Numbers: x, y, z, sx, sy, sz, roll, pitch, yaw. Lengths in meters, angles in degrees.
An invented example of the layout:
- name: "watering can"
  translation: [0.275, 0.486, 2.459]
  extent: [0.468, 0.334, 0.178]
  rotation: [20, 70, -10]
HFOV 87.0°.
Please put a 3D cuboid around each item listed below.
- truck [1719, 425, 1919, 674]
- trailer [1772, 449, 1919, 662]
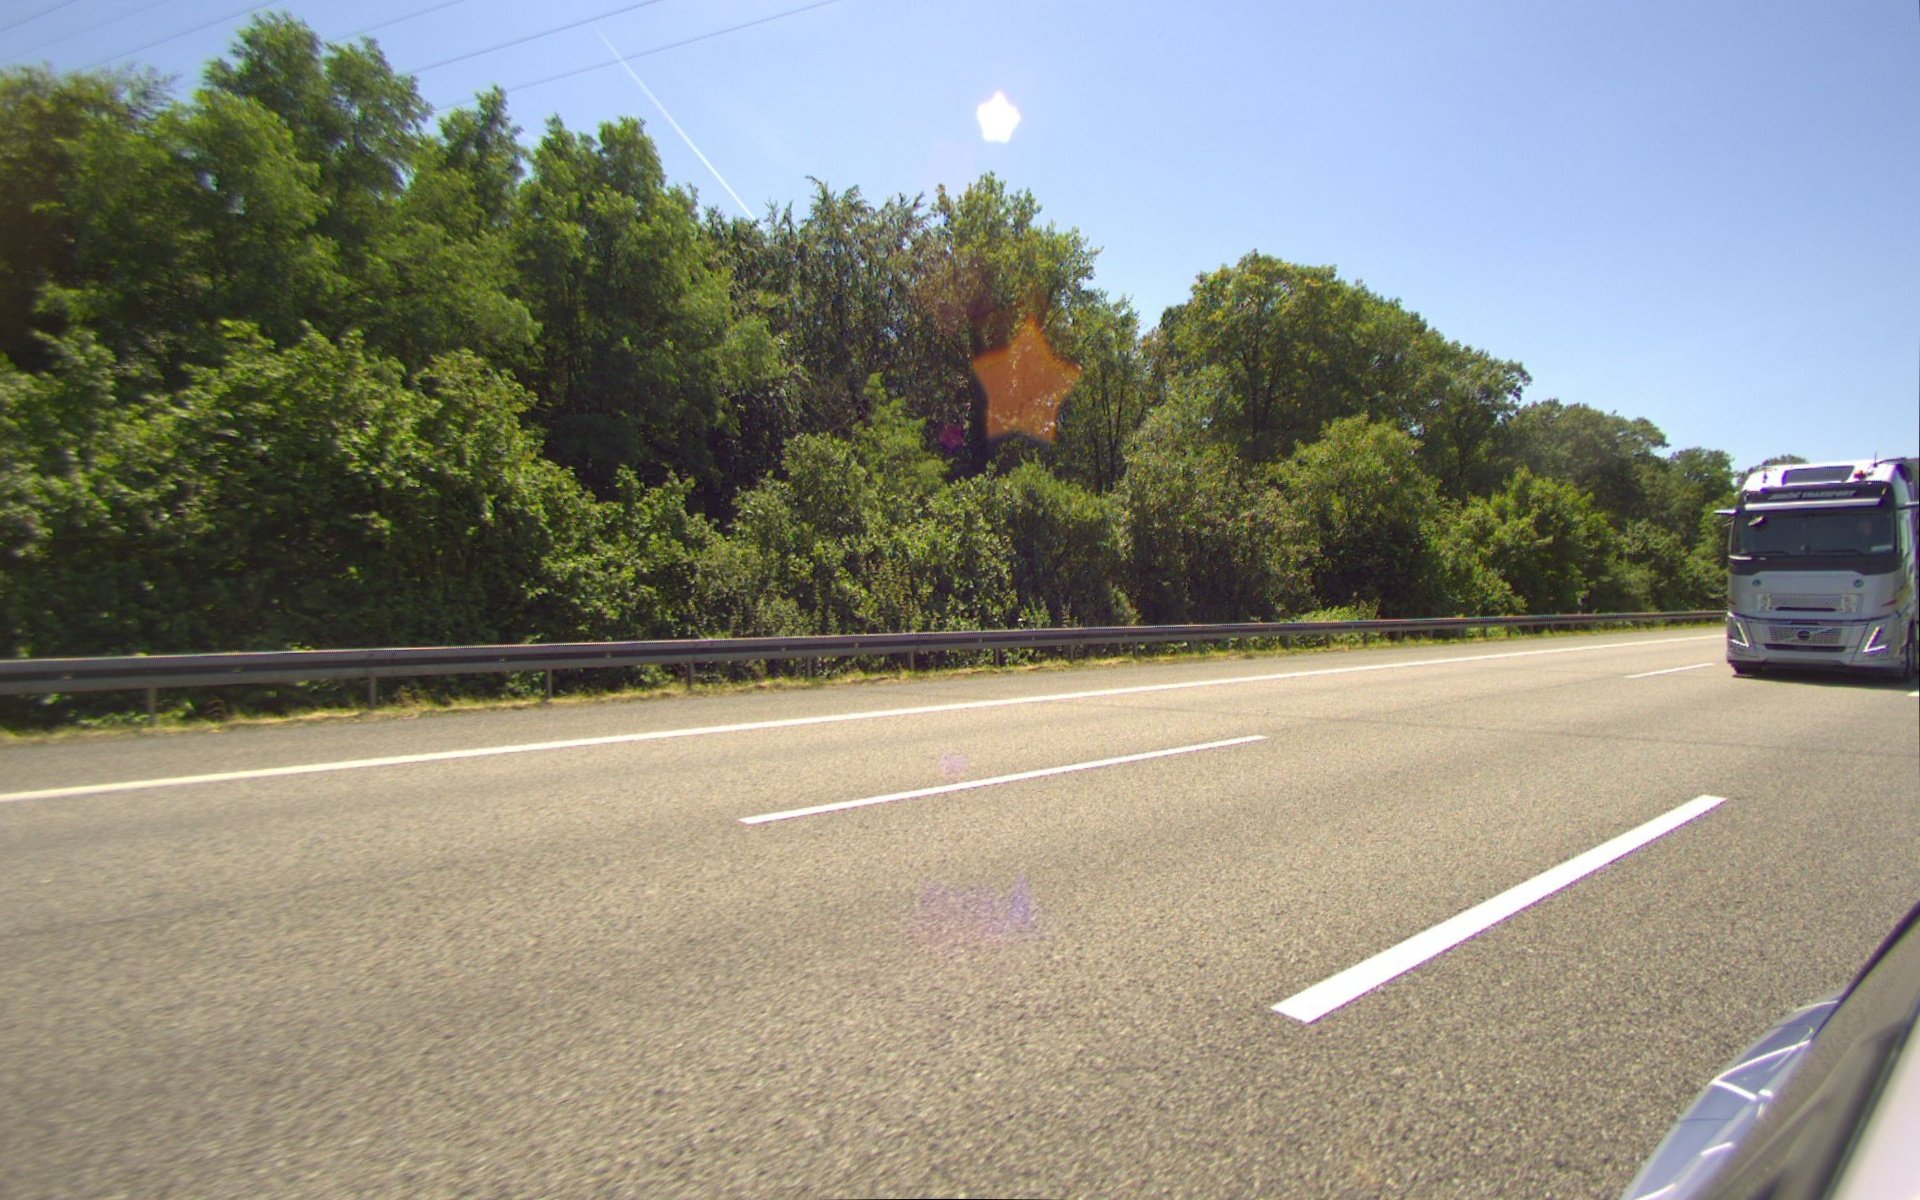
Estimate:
- name: "truck"
  translation: [17.110, -0.853, 19.425]
  extent: [6.386, 4.025, 2.728]
  rotation: [0, 0, -40]
- name: "trailer"
  translation: [22.731, -0.900, 24.142]
  extent: [13.412, 4.025, 2.745]
  rotation: [0, 0, -40]
